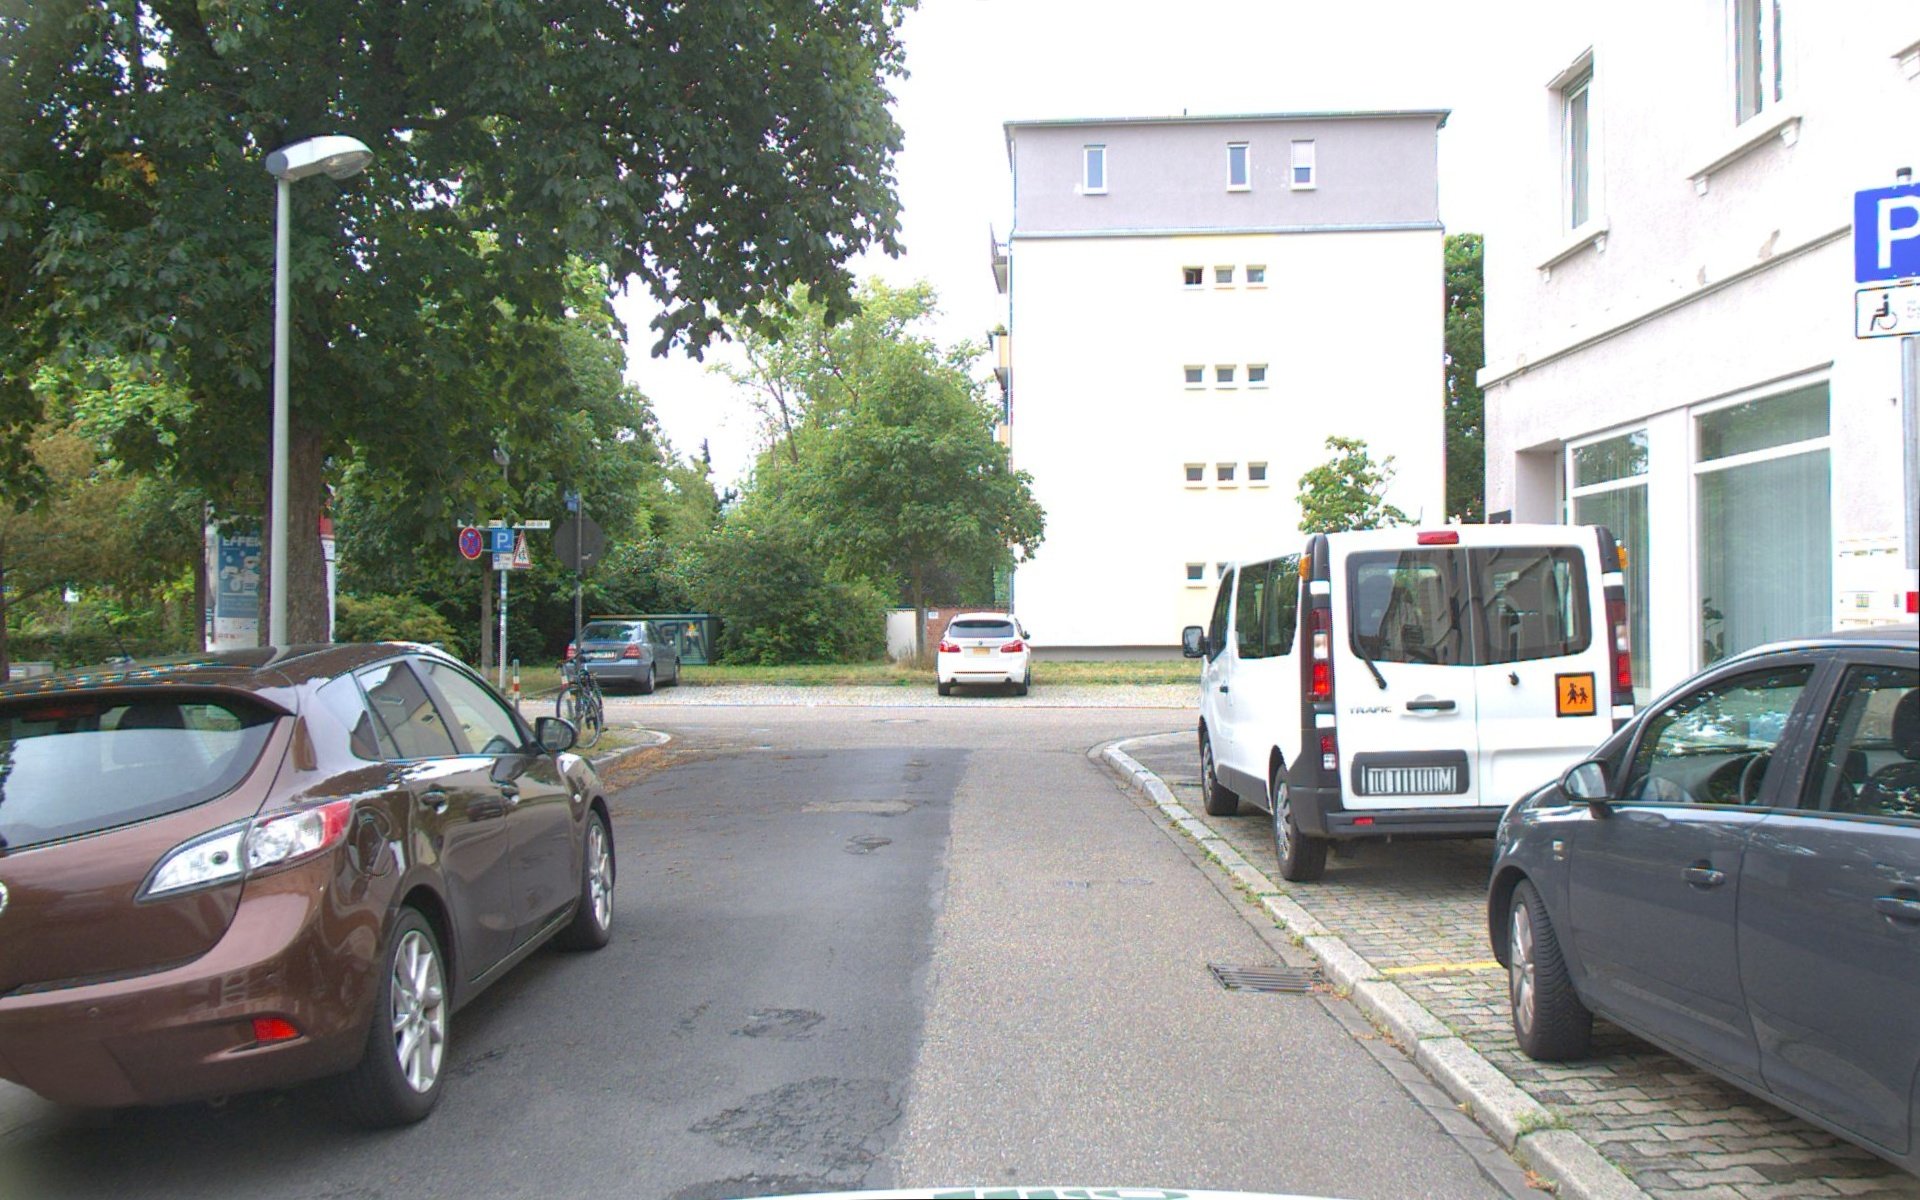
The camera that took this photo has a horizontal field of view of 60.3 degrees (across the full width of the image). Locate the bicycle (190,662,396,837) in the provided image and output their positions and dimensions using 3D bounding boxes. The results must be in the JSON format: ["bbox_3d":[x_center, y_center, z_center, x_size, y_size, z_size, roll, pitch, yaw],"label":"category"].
[{"bbox_3d":[-4.670,1.010,11.725,0.652,1.085,1.885,-1,-1,1],"label":"bicycle"}]

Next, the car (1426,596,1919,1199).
[{"bbox_3d":[2.804,0.751,4.575,1.654,1.479,3.898,-3,0,-4],"label":"car"}]

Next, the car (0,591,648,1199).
[{"bbox_3d":[-2.433,0.812,6.138,1.676,1.483,4.162,-5,0,-1],"label":"car"}]

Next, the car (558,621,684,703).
[{"bbox_3d":[-6.876,1.209,33.990,1.640,1.480,4.560,-1,0,0],"label":"car"}]

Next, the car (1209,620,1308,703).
[{"bbox_3d":[6.000,1.193,33.659,1.796,1.489,4.564,-1,0,8],"label":"car"}]

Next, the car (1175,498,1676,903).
[{"bbox_3d":[2.735,0.536,11.062,1.840,2.031,5.011,-2,0,-1],"label":"car"}]

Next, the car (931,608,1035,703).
[{"bbox_3d":[0.534,1.062,33.552,1.839,1.587,4.152,1,3,4],"label":"car"}]

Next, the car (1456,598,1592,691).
[{"bbox_3d":[11.308,0.848,33.407,1.869,1.727,4.072,-1,0,8],"label":"car"}]

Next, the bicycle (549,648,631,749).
[{"bbox_3d":[-4.080,1.060,18.352,0.500,1.003,2.181,2,-1,-3],"label":"bicycle"}]
